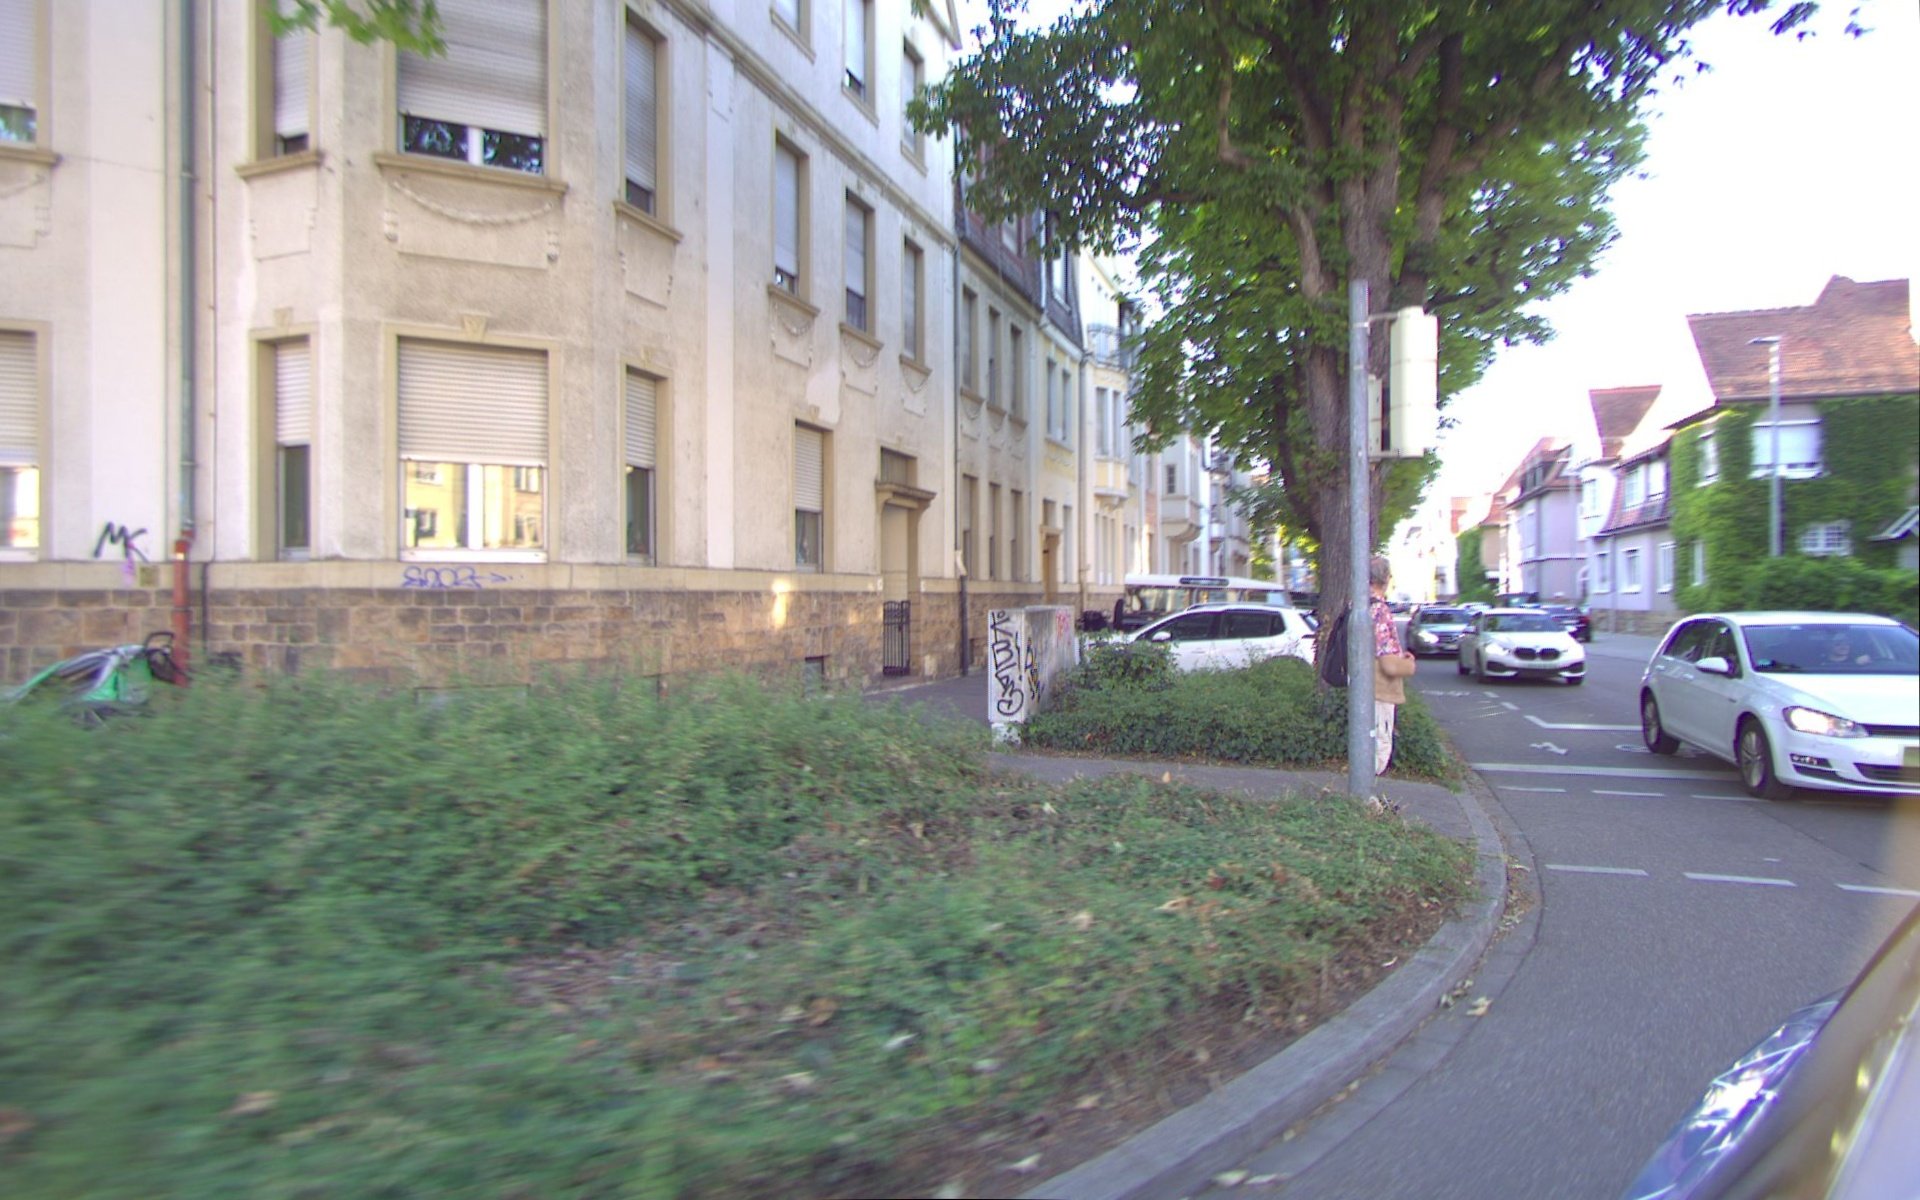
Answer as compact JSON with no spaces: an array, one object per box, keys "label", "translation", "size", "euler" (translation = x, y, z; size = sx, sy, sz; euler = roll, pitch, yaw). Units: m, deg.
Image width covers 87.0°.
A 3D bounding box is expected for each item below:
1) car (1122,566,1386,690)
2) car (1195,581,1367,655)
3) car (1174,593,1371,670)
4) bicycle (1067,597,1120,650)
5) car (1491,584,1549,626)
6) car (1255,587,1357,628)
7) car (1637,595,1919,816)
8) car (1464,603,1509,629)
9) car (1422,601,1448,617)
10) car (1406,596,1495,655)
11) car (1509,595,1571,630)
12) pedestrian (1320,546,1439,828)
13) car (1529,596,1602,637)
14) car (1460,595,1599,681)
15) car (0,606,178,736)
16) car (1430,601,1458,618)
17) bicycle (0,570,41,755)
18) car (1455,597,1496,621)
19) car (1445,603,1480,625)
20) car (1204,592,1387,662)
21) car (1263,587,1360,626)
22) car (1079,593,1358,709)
[{"label":"car","translation":[5.268,0.405,18.267],"size":[4.382,2.008,1.748],"euler":[1,3,22]},{"label":"car","translation":[9.444,0.524,29.904],"size":[4.653,2.039,1.987],"euler":[-1,0,20]},{"label":"car","translation":[7.199,0.711,23.459],"size":[4.157,1.649,1.961],"euler":[-1,0,20]},{"label":"bicycle","translation":[3.537,0.584,26.603],"size":[0.754,1.301,2.185],"euler":[2,1,24]},{"label":"car","translation":[27.306,0.254,49.455],"size":[1.799,1.930,4.260],"euler":[-1,0,20]},{"label":"car","translation":[17.051,0.379,49.949],"size":[4.653,1.897,1.987],"euler":[-1,0,20]},{"label":"car","translation":[7.530,0.717,8.761],"size":[1.821,1.469,4.083],"euler":[-1,0,20]},{"label":"car","translation":[31.345,0.937,60.395],"size":[1.799,1.446,4.260],"euler":[-1,0,20]},{"label":"car","translation":[45.101,0.808,96.072],"size":[1.799,1.446,4.260],"euler":[-1,0,20]},{"label":"car","translation":[14.185,0.673,29.486],"size":[1.821,1.536,4.722],"euler":[-1,0,20]},{"label":"car","translation":[25.672,0.541,44.922],"size":[1.673,1.472,3.973],"euler":[-1,0,20]},{"label":"pedestrian","translation":[2.920,0.563,7.026],"size":[0.695,1.829,0.660],"euler":[-1,0,26]},{"label":"car","translation":[23.357,0.600,39.156],"size":[1.673,1.472,3.973],"euler":[-1,0,20]},{"label":"car","translation":[11.463,0.691,20.647],"size":[1.821,1.536,3.996],"euler":[-1,0,20]},{"label":"car","translation":[-7.536,0.576,8.718],"size":[1.043,0.959,0.929],"euler":[-1,4,-24]},{"label":"car","translation":[42.628,0.833,89.255],"size":[1.799,1.446,4.260],"euler":[-1,0,20]},{"label":"bicycle","translation":[-9.280,0.532,7.801],"size":[3.094,1.490,0.955],"euler":[-1,0,-26]},{"label":"car","translation":[33.313,0.550,65.472],"size":[1.799,1.446,4.260],"euler":[-1,0,20]},{"label":"car","translation":[36.238,0.989,73.059],"size":[1.799,1.446,4.260],"euler":[-1,0,20]},{"label":"car","translation":[8.344,0.665,25.361],"size":[4.157,1.627,1.987],"euler":[-1,0,20]},{"label":"car","translation":[18.138,0.347,52.350],"size":[4.653,1.897,1.987],"euler":[-1,0,20]},{"label":"car","translation":[4.002,0.720,15.752],"size":[3.997,1.595,1.673],"euler":[1,0,20]}]
